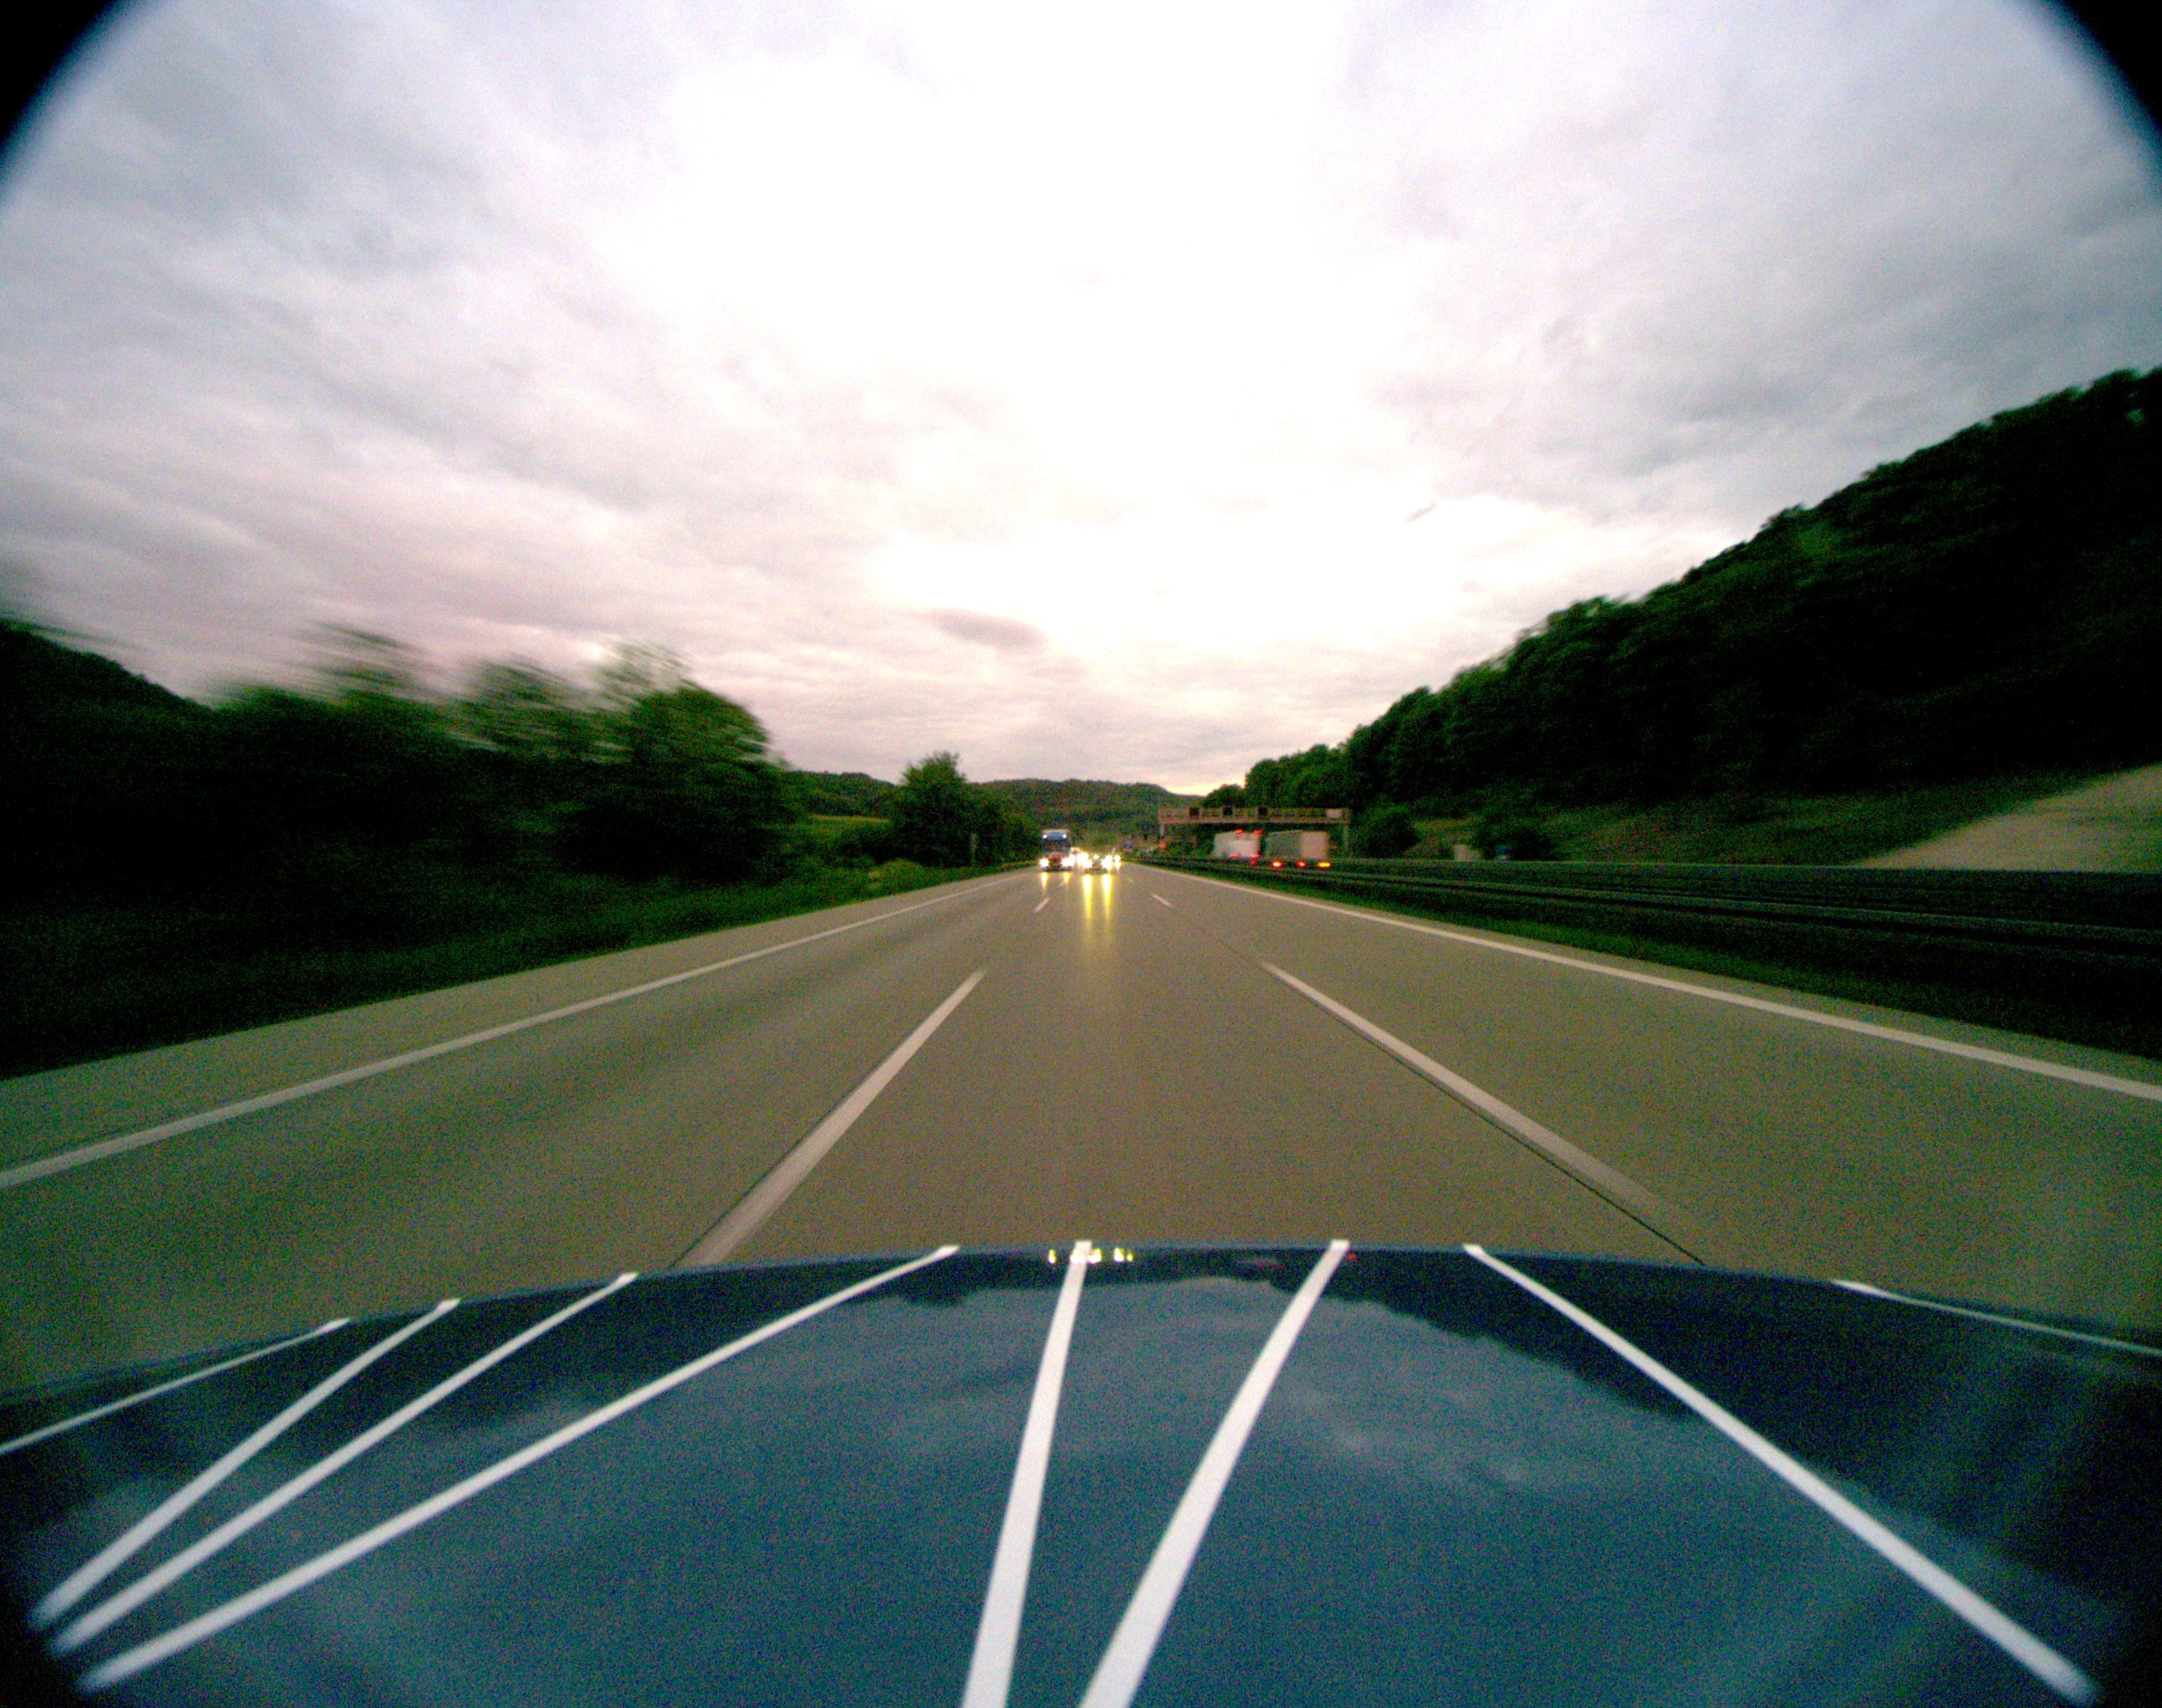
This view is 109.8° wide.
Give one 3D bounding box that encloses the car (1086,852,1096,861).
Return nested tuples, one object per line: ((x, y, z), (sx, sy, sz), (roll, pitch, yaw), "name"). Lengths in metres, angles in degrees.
((1.825, 0.447, 139.456), (1.890, 1.608, 3.773), (-1, 0, 1), "car")

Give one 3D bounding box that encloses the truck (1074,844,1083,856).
((-0.767, -1.219, 236.230), (2.623, 3.805, 10.385), (-1, 0, 0), "truck")

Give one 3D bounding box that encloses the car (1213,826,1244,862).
((18.639, -1.234, 96.546), (2.805, 4.461, 5.929), (-1, 1, 1), "car")

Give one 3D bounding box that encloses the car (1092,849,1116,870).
((1.890, 0.448, 63.027), (1.927, 1.674, 4.807), (-1, 0, 1), "car")

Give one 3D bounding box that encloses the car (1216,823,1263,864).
((18.616, -1.224, 90.236), (2.805, 4.461, 13.910), (-1, 0, 1), "car")

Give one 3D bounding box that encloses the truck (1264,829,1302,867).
((23.451, -0.700, 88.432), (2.863, 4.186, 5.864), (-1, 1, 1), "truck")

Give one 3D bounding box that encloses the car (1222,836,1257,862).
((14.645, -0.433, 70.538), (1.998, 2.273, 6.339), (-1, 0, 1), "car")

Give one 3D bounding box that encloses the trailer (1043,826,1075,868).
((-2.209, -0.717, 81.607), (2.778, 4.062, 13.739), (-2, 0, 1), "trailer")

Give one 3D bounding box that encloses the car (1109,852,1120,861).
((6.166, 0.493, 139.086), (1.898, 1.503, 4.001), (-1, 0, 3), "car")

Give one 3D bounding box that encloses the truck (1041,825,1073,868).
((-2.298, -0.706, 74.795), (2.743, 3.973, 5.849), (-2, 0, 1), "truck")

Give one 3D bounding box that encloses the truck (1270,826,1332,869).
((23.303, -0.689, 81.498), (2.902, 4.186, 13.601), (-1, 0, 1), "truck")
